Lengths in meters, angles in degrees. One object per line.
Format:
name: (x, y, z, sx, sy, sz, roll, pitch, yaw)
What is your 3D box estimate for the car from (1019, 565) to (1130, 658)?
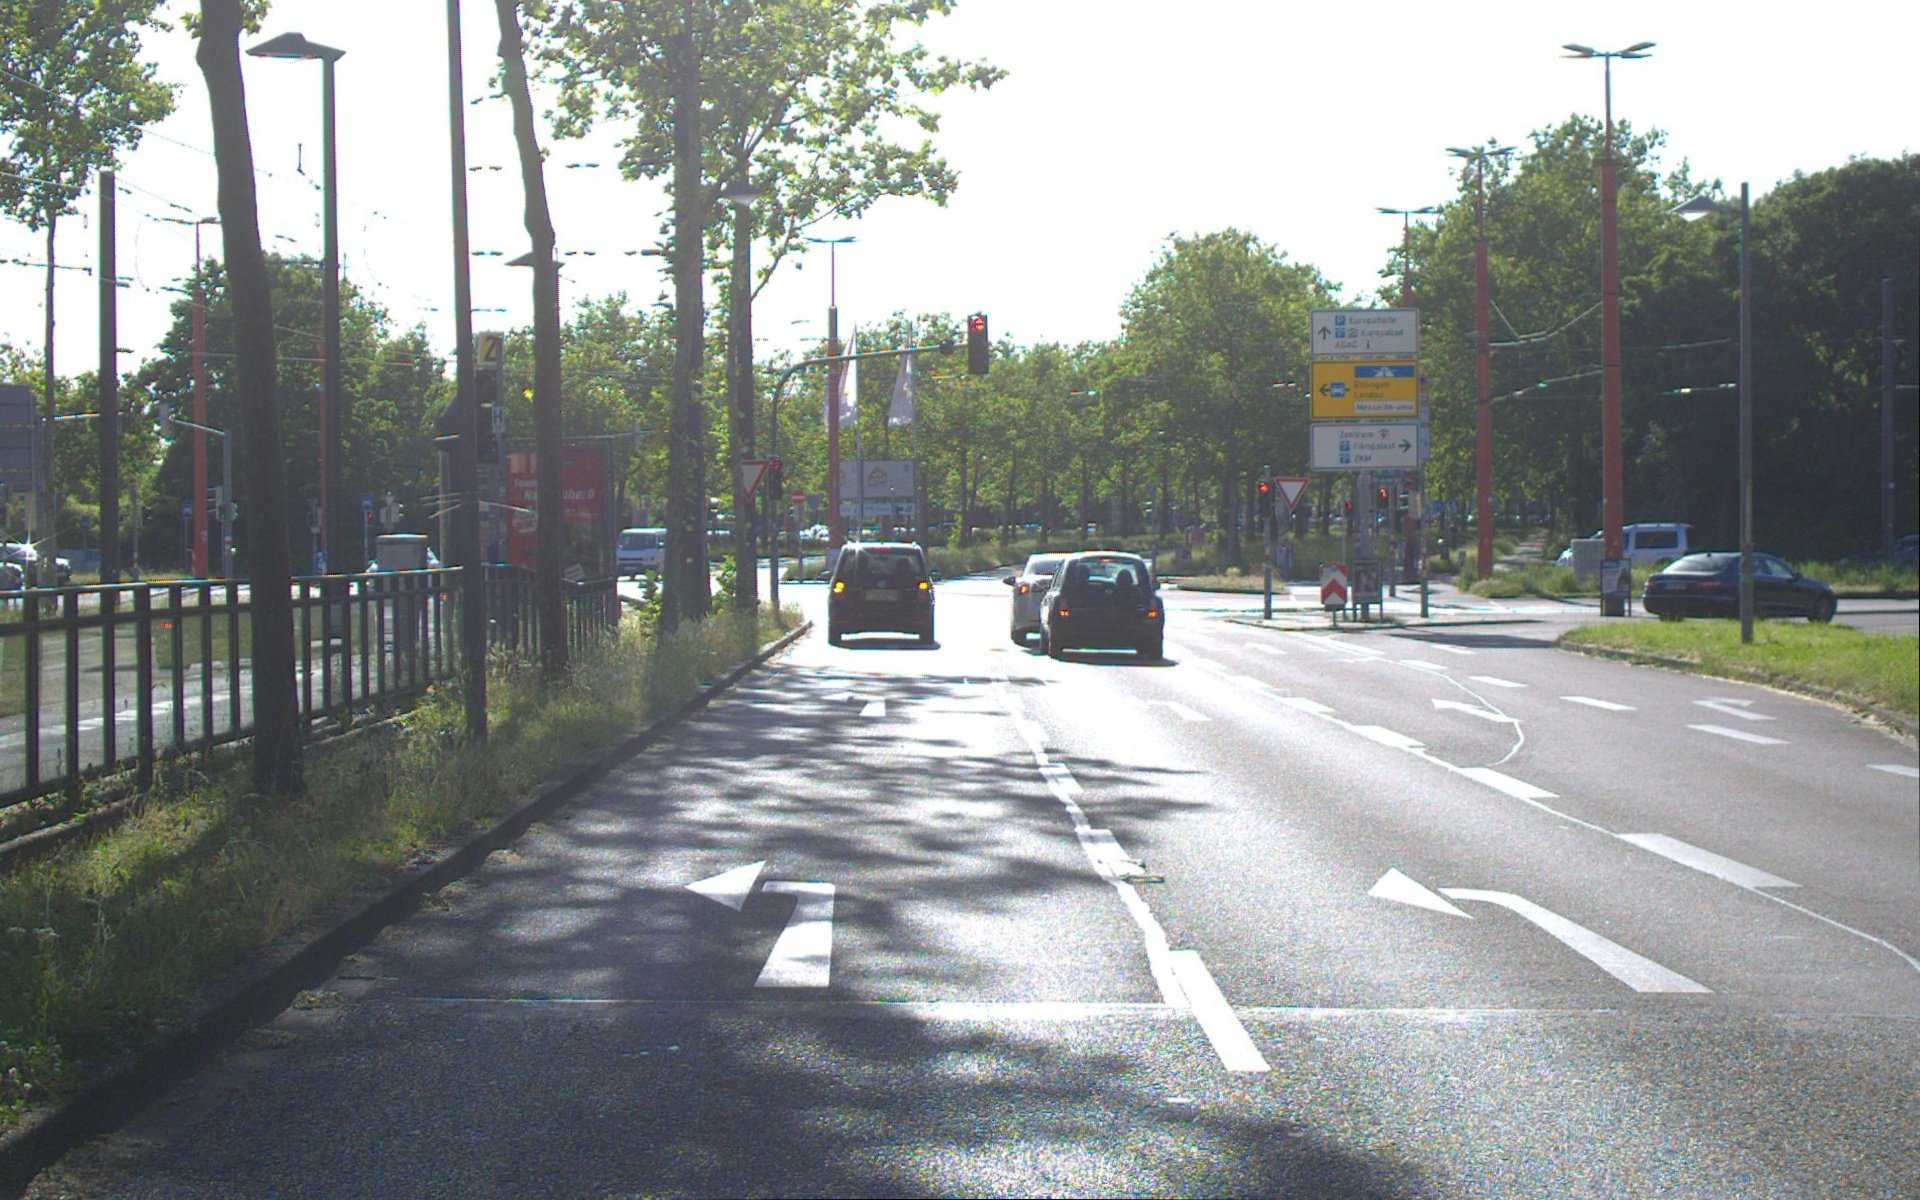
car: (1.866, 0.165, 56.996, 1.678, 1.470, 4.131, 1, 0, 0)

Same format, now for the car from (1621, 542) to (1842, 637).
car: (15.400, -0.194, 68.485, 4.601, 1.786, 1.987, 1, 1, -43)

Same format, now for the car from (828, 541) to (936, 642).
car: (-1.301, -0.149, 56.467, 1.710, 1.598, 3.350, 0, 1, -2)

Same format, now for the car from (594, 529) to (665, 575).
car: (-13.188, -1.892, 137.484, 1.823, 1.774, 4.566, 1, 0, 8)

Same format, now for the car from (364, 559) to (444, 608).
car: (-17.245, -0.520, 106.743, 1.631, 1.444, 3.718, 1, 0, 4)

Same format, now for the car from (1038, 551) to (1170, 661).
car: (2.073, 0.060, 50.344, 1.638, 1.489, 3.504, 1, 1, -2)

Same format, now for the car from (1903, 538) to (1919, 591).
car: (30.252, -1.009, 101.520, 4.357, 1.553, 1.870, 1, 0, 24)

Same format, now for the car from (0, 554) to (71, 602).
car: (-32.674, -0.757, 117.609, 3.990, 1.615, 1.898, 0, 1, 18)

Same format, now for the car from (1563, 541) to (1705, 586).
car: (20.839, -1.131, 106.248, 3.992, 1.333, 1.727, 1, 0, 25)
